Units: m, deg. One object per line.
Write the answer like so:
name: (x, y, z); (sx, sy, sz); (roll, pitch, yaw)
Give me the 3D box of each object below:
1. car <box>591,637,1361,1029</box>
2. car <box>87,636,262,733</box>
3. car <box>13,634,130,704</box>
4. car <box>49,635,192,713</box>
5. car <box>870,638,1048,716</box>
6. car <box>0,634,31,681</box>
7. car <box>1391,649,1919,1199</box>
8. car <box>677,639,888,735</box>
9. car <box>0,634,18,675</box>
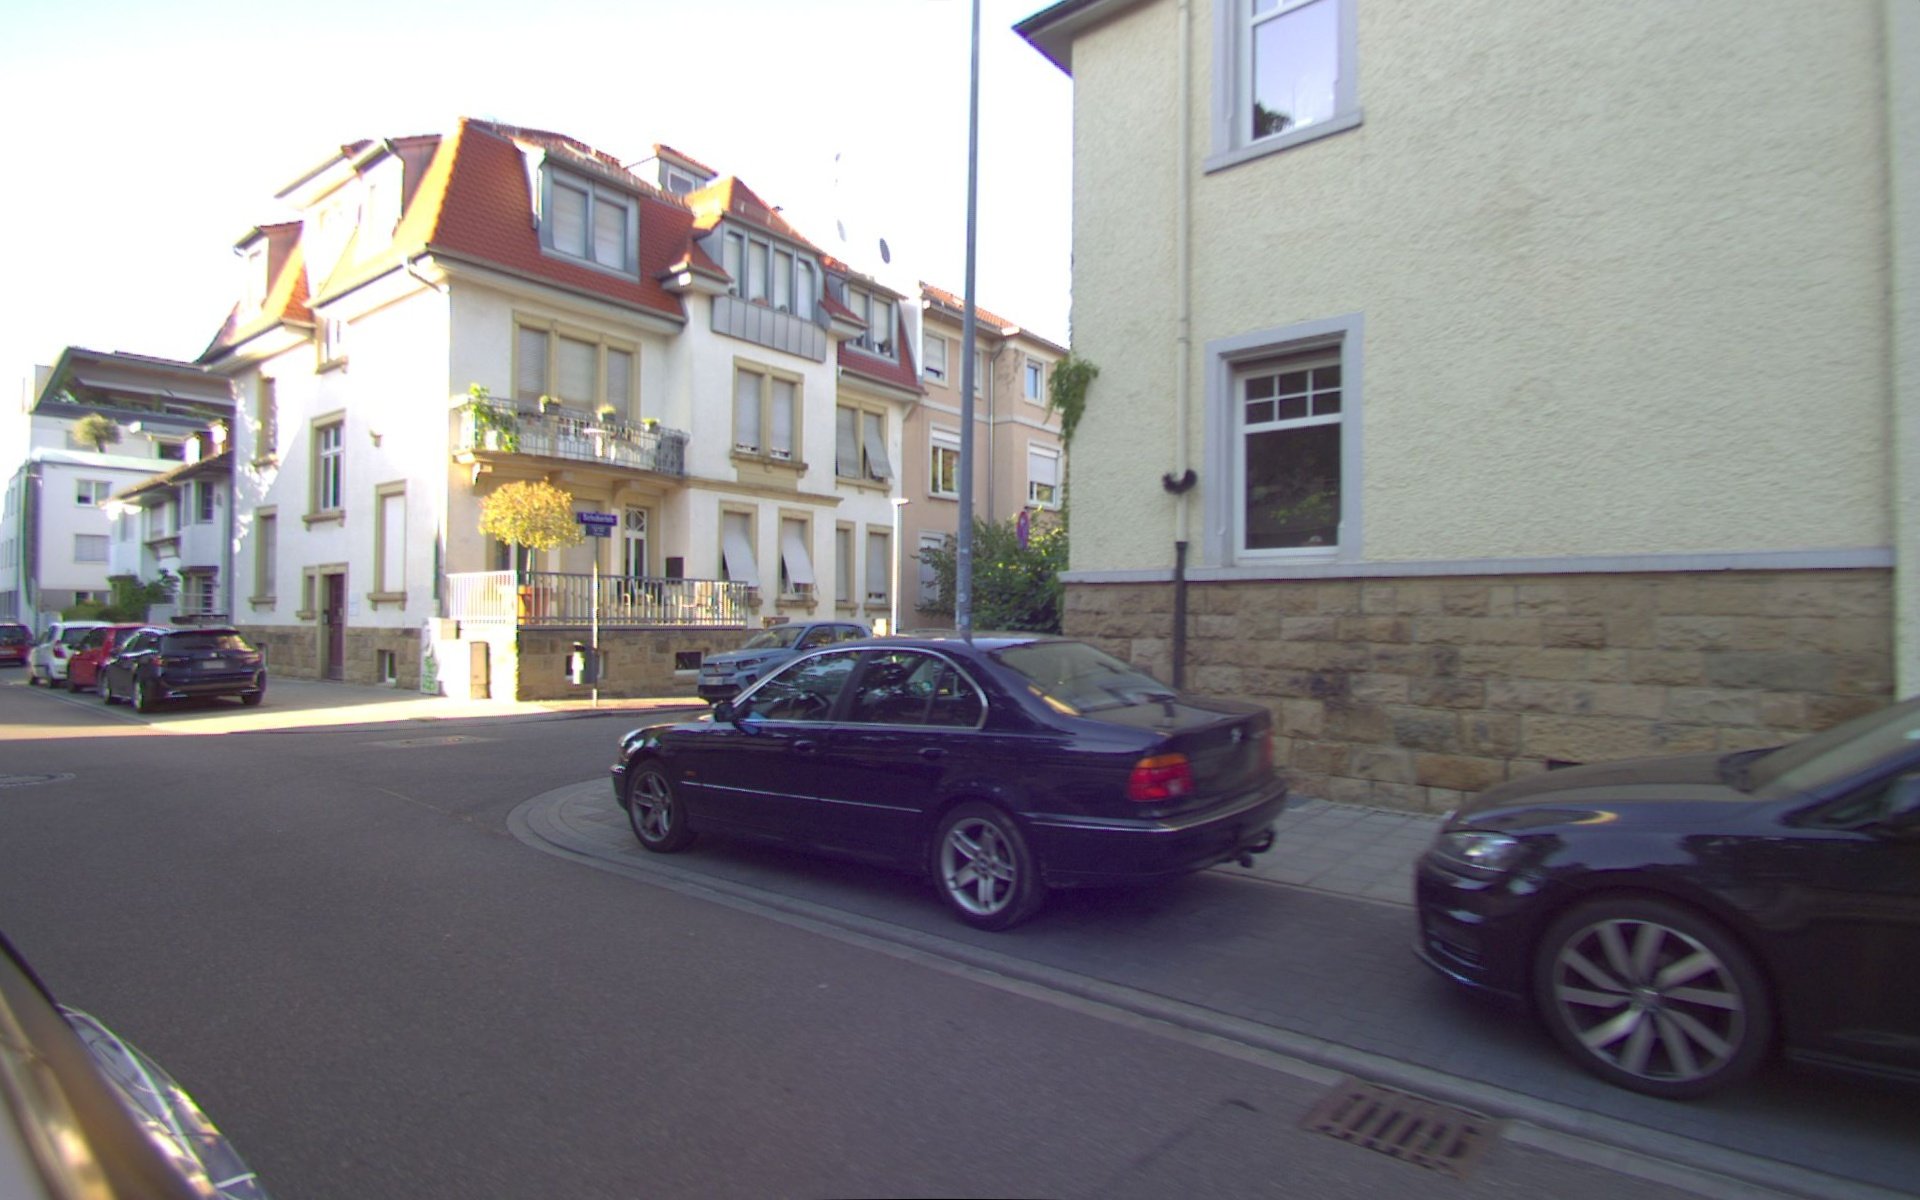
car: (-0.209, 0.998, 6.146); (4.628, 1.481, 1.692); (-1, -1, 39)
car: (-14.201, 1.421, 18.190); (4.628, 1.465, 1.636); (-1, -1, 41)
car: (-21.632, 1.616, 24.595); (3.703, 1.532, 1.566); (-1, -1, 39)
car: (-18.084, 1.529, 21.760); (3.700, 1.488, 1.567); (-1, -1, 37)
car: (0.088, 1.680, 23.135); (1.758, 1.571, 4.434); (-3, -3, 37)
car: (-32.737, 1.932, 34.234); (3.428, 1.494, 1.633); (-1, -1, 42)
car: (3.655, 0.910, 2.890); (4.164, 1.426, 1.637); (-1, -1, 40)
car: (-3.224, 1.549, 18.944); (1.758, 1.571, 3.728); (-3, -3, 36)
car: (-36.958, 2.051, 38.113); (4.376, 1.470, 1.720); (-1, -1, 41)
